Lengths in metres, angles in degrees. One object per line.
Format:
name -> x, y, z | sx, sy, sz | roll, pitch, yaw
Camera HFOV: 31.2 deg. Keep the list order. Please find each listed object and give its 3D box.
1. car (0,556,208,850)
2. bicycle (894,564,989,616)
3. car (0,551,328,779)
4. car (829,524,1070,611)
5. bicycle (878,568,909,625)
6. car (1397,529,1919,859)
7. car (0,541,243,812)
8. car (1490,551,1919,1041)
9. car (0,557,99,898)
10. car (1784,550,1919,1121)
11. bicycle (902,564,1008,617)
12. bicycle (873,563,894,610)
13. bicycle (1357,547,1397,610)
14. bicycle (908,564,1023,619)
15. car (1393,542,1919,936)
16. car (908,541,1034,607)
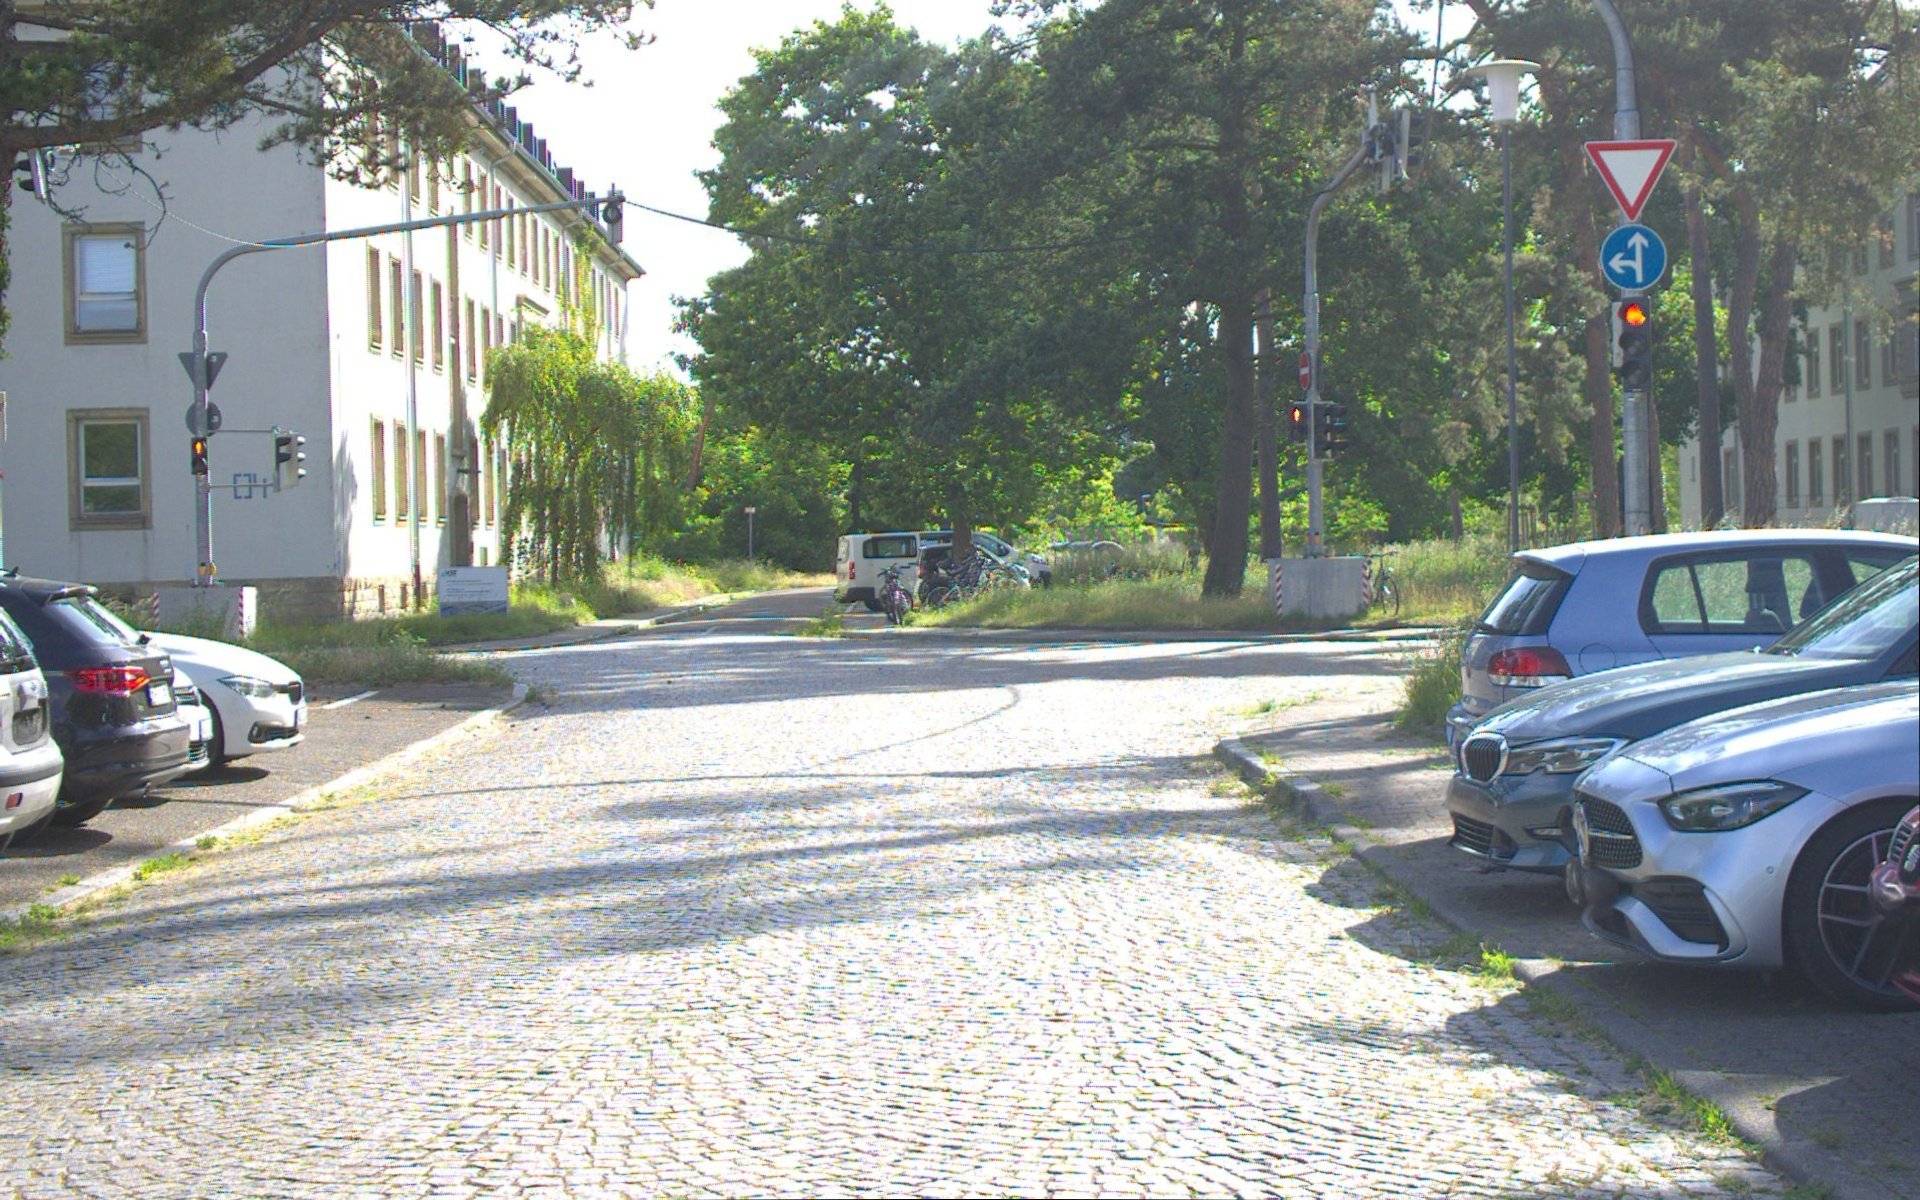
car -> -6.227, 0.497, 18.547 | 3.986, 1.475, 1.803 | 1, 1, -3
bicycle -> -0.371, -0.196, 69.220 | 1.837, 1.007, 0.636 | 1, 0, -8
car -> -6.666, 0.406, 23.717 | 4.333, 1.463, 1.831 | 1, 1, -3
car -> -0.260, -0.794, 83.843 | 5.520, 2.007, 2.001 | 1, 0, -18
bicycle -> -1.210, -0.067, 62.242 | 0.467, 1.007, 1.586 | 1, 0, -4
car -> 4.210, 0.394, 16.834 | 3.882, 1.410, 1.637 | -3, 1, 0
car -> -6.697, 0.425, 21.506 | 4.080, 1.588, 1.886 | 1, 1, -3
car -> 4.137, 0.522, 11.398 | 4.432, 1.410, 1.781 | -3, 1, 0
car -> -6.050, 0.530, 15.925 | 3.746, 1.482, 1.646 | 1, 1, -3
car -> 4.506, 0.518, 9.254 | 4.127, 1.444, 1.637 | -3, 1, 0
bicycle -> -0.096, -0.180, 67.465 | 2.004, 1.007, 0.632 | 1, 0, -8
bicycle -> -1.677, -0.297, 75.402 | 0.417, 1.007, 1.483 | 1, 0, 0
bicycle -> 6.504, -0.338, 53.669 | 0.300, 0.957, 1.586 | 1, 0, -4
bicycle -> 0.099, -0.165, 65.700 | 2.109, 1.007, 0.621 | 1, 0, -8
car -> 4.188, 0.473, 14.114 | 4.559, 1.410, 1.637 | -3, 1, 0
car -> 0.235, -0.608, 80.225 | 2.781, 1.462, 1.671 | 1, 0, -5
